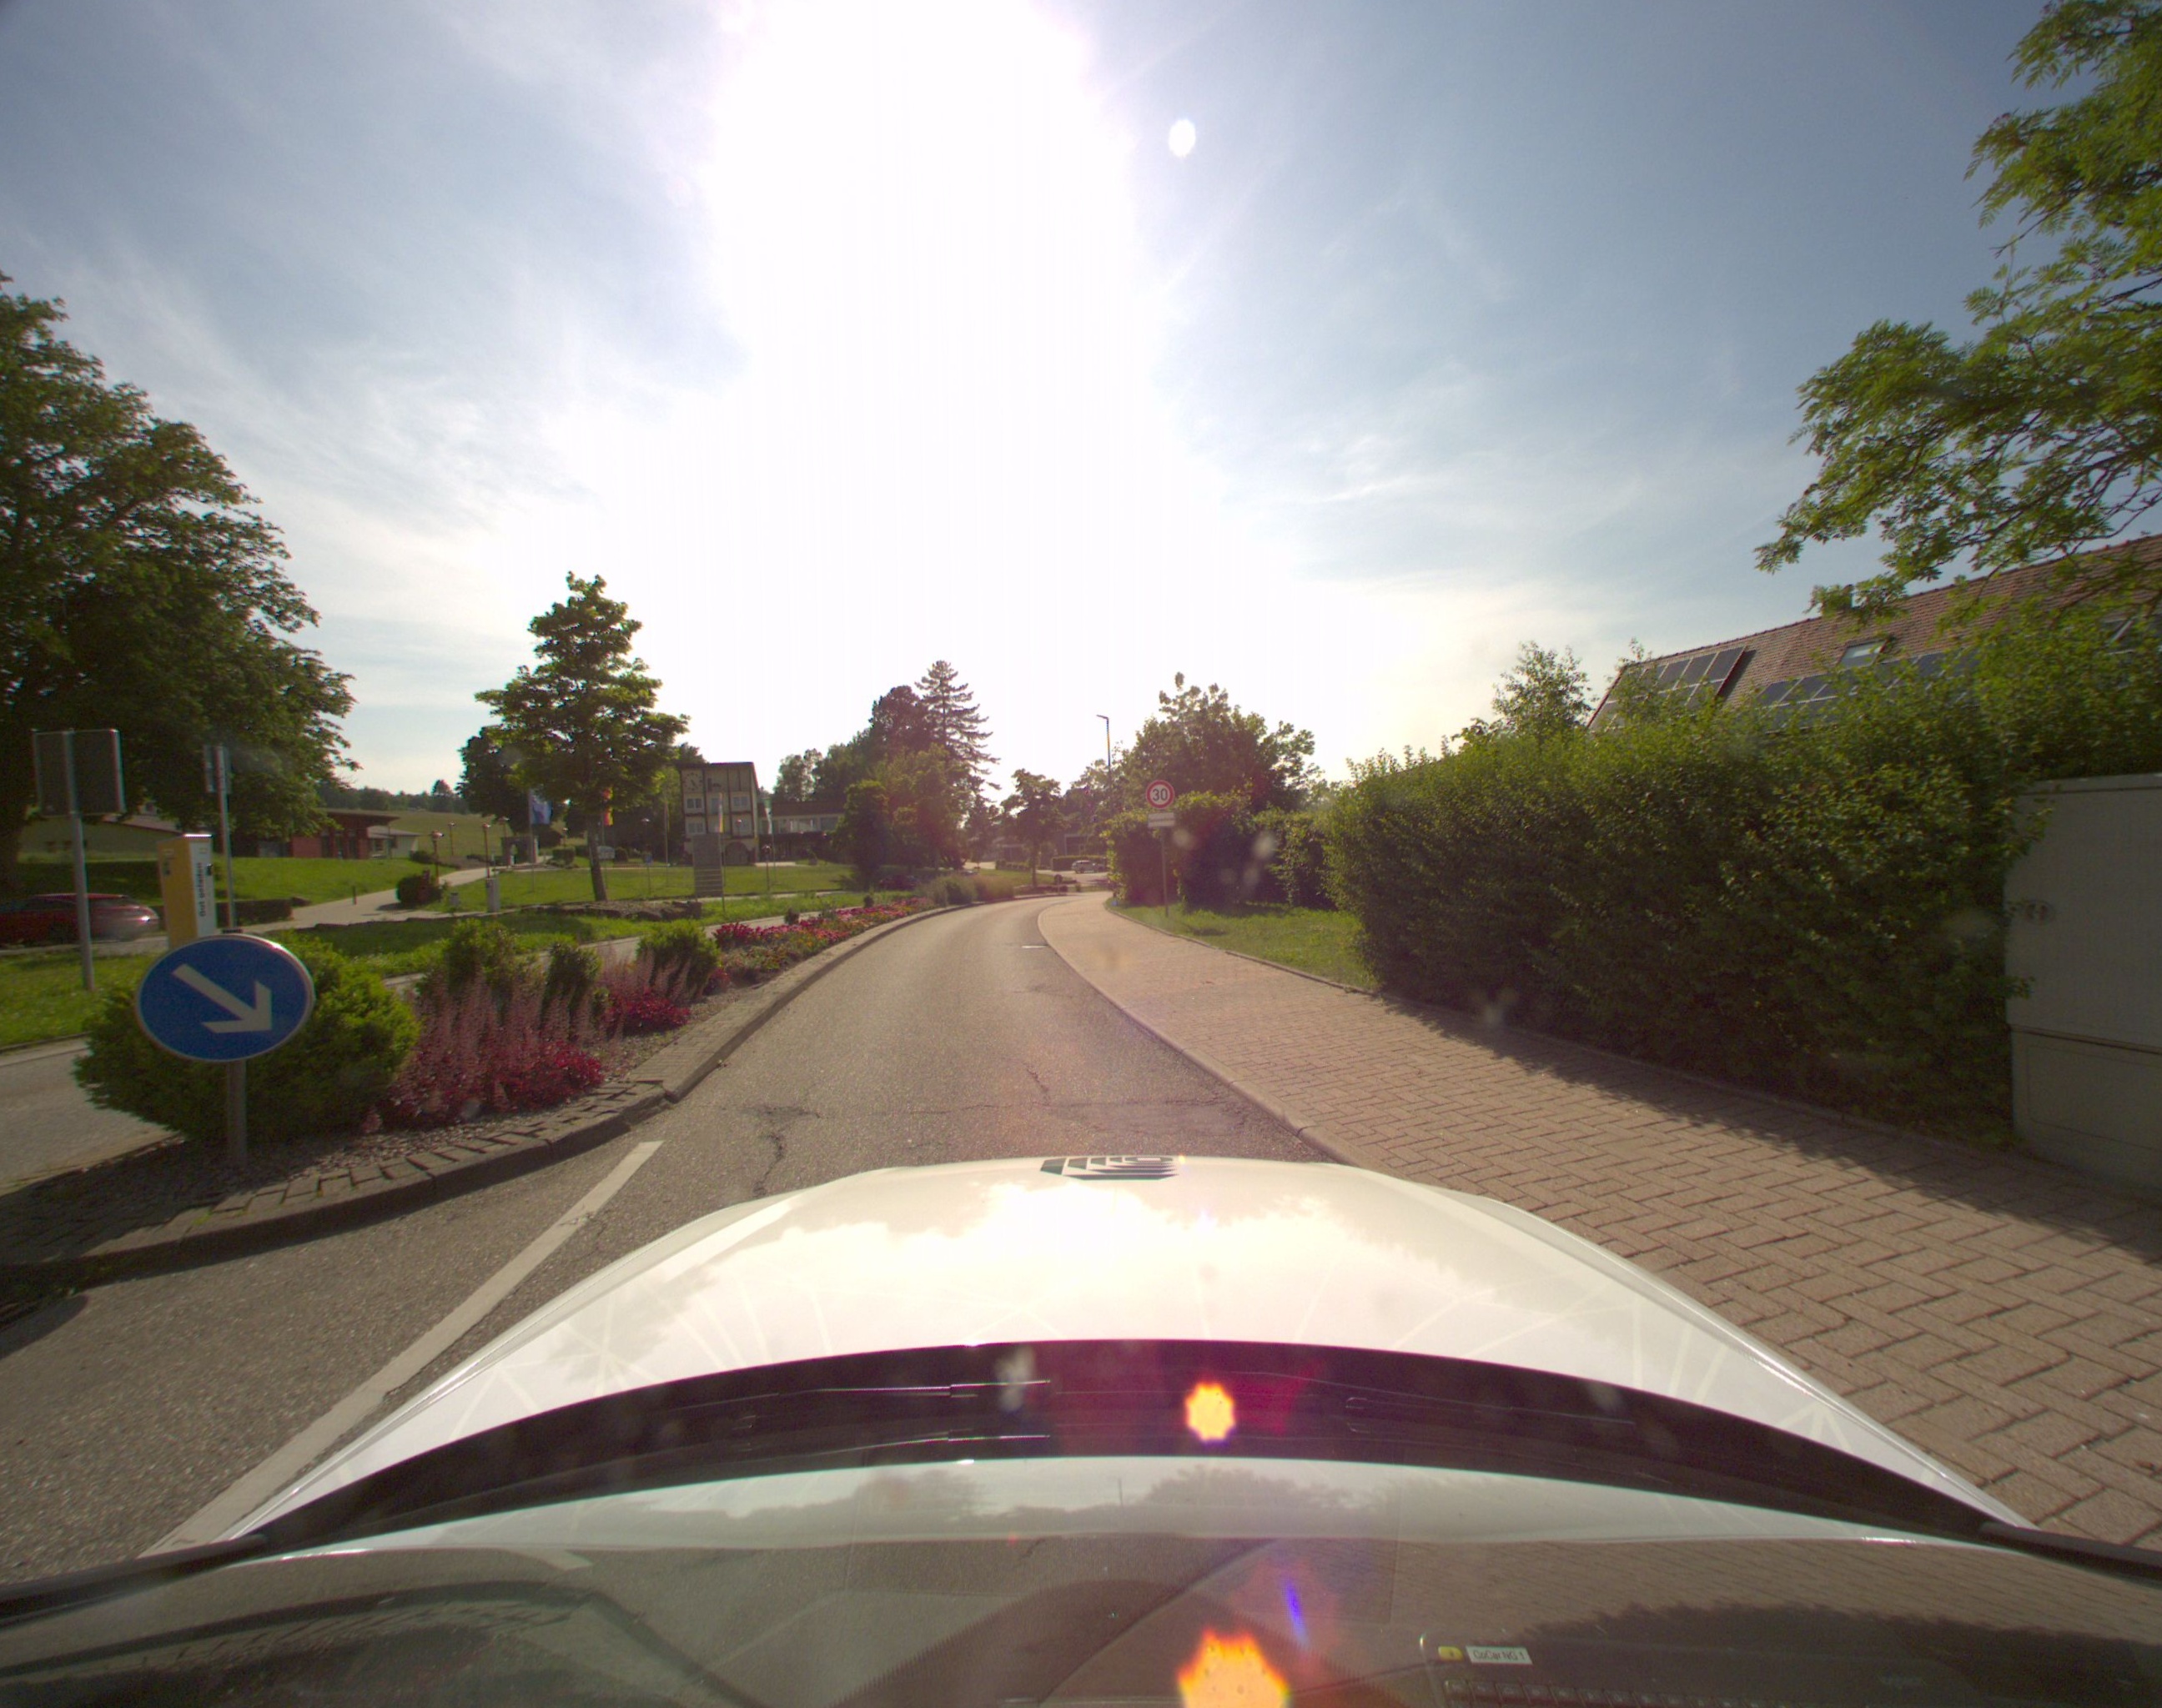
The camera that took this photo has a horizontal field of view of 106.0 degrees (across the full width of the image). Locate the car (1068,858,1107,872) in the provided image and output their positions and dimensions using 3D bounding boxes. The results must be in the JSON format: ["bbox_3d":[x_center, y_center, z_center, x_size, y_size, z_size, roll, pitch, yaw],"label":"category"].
[{"bbox_3d":[0.898,1.435,107.299,4.736,1.533,1.985,-3,4,-24],"label":"car"}]

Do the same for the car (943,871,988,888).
[{"bbox_3d":[-10.846,2.381,76.474,3.890,1.609,1.787,-1,-1,33],"label":"car"}]

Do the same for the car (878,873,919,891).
[{"bbox_3d":[-15.776,2.424,70.407,3.166,1.470,1.787,-1,-1,32],"label":"car"}]

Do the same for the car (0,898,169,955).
[{"bbox_3d":[-29.197,2.045,23.164,4.217,1.399,1.821,-1,-1,-5],"label":"car"}]
